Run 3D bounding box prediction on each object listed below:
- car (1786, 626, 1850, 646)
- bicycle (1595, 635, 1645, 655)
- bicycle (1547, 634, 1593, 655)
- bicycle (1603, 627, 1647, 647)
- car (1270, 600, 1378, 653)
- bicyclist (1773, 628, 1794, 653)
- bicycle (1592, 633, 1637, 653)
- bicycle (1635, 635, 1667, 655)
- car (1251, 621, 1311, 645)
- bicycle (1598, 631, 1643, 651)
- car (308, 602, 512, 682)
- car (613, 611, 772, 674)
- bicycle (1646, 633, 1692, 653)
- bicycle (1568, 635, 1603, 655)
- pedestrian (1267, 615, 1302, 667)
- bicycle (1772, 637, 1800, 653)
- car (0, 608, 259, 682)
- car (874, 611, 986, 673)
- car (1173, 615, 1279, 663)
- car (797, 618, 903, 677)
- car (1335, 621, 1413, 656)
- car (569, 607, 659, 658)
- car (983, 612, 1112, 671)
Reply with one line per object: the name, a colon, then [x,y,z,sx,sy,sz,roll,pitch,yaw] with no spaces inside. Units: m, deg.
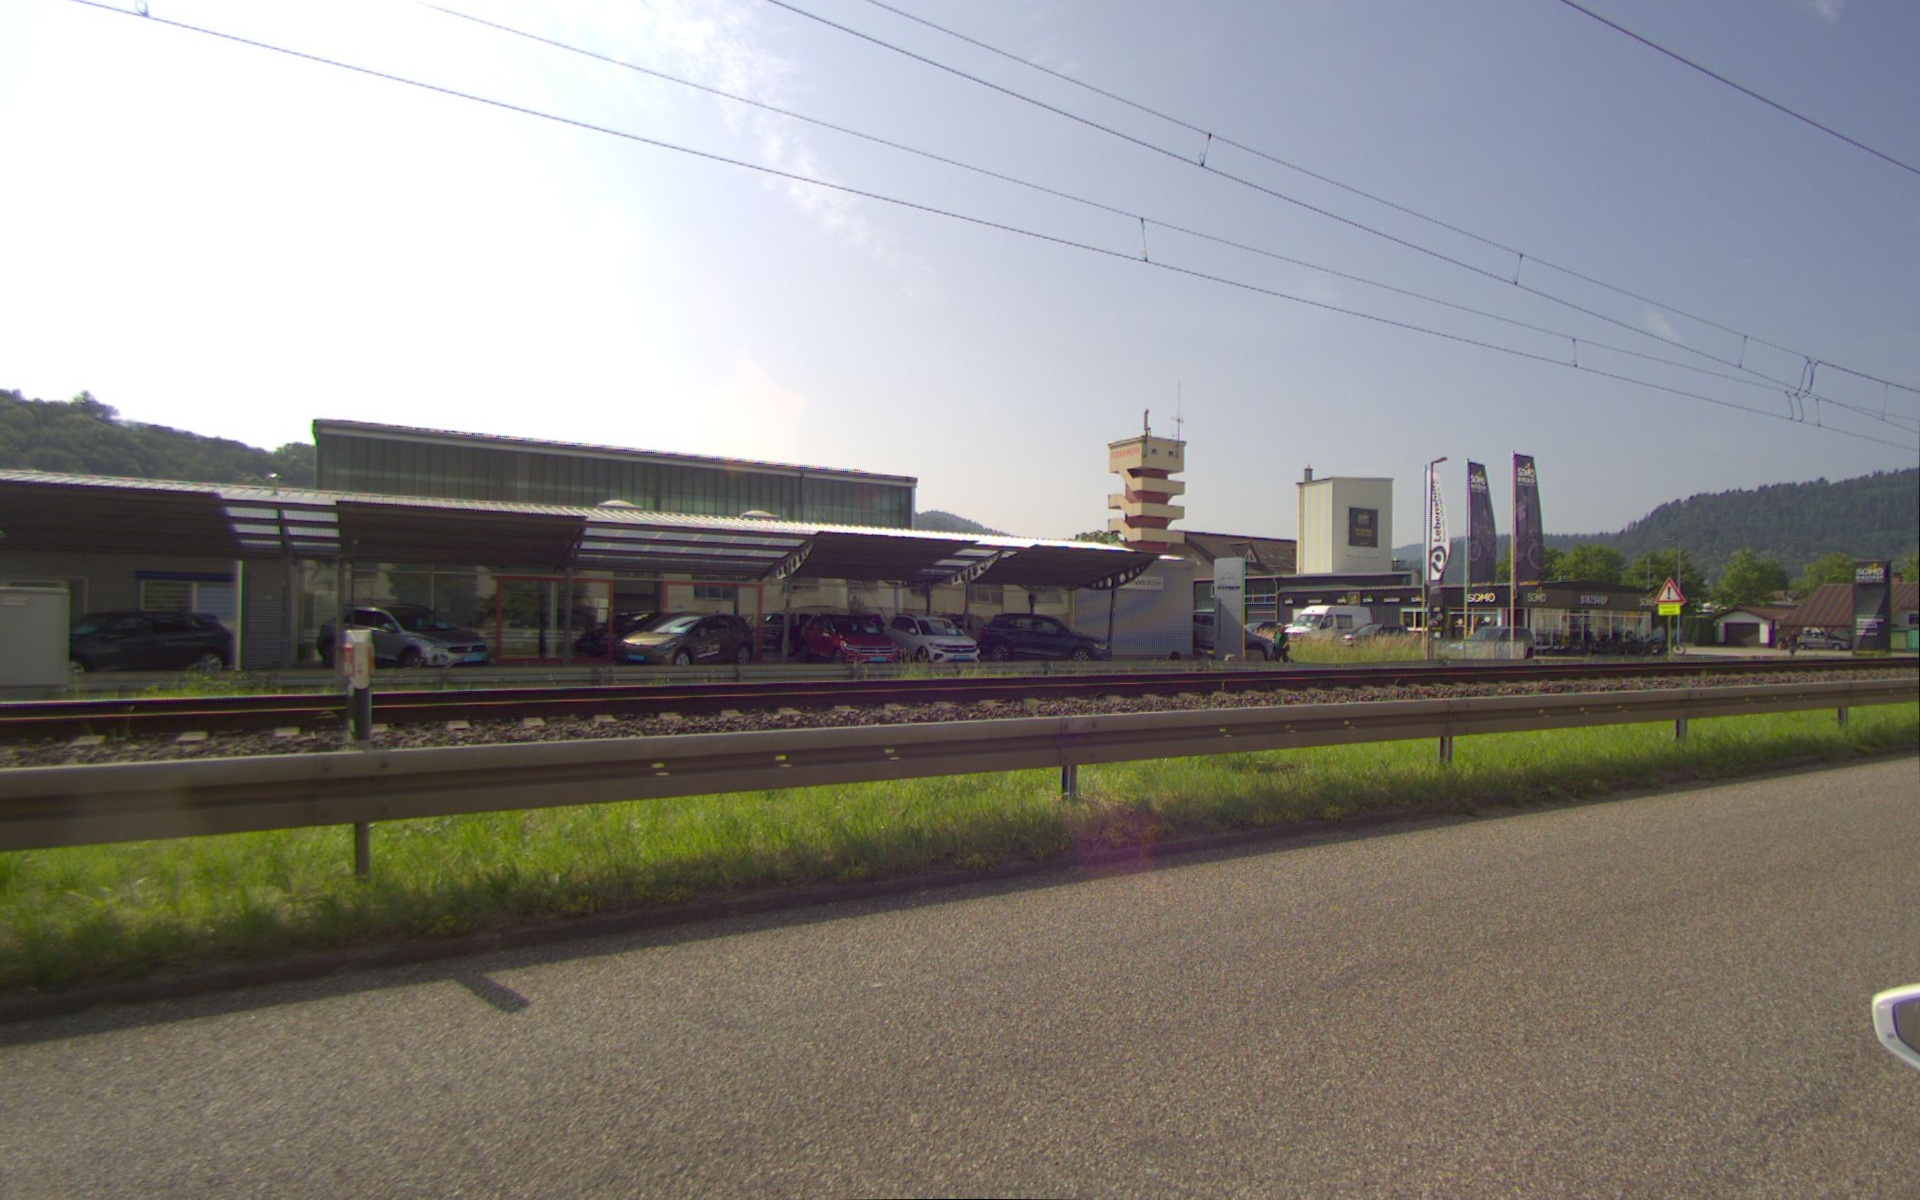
car: [74.392,3.145,87.140,1.690,1.673,3.824,1,-2,-26]
bicycle: [37.707,2.567,57.406,2.275,1.145,0.730,1,-1,5]
bicycle: [34.726,2.503,57.208,0.721,1.145,2.158,2,-2,-29]
bicycle: [40.490,2.249,61.162,0.724,1.145,2.151,2,-2,-38]
car: [20.227,1.518,55.783,6.092,2.667,2.360,3,-2,-32]
bicyclist: [56.665,2.786,69.110,1.130,1.641,0.743,1,-1,-25]
bicycle: [39.130,2.537,60.078,0.721,1.145,2.158,2,-2,-29]
bicycle: [40.427,2.624,58.758,2.149,1.145,0.724,2,-2,-31]
car: [19.397,1.977,60.673,3.478,1.375,1.508,2,-2,-29]
bicycle: [39.884,2.469,60.674,0.724,1.145,2.151,2,-2,-38]
car: [-12.823,0.913,23.449,4.187,1.548,1.847,3,2,20]
car: [-7.026,1.080,26.932,1.811,1.525,4.433,0,-1,22]
bicycle: [43.009,2.619,60.934,0.724,1.145,2.151,2,-2,-38]
bicycle: [36.647,2.629,58.860,2.146,1.145,0.725,2,-1,-27]
pedestrian: [11.237,1.412,34.793,0.826,1.757,0.798,1,-1,-31]
bicycle: [56.758,3.094,68.996,1.936,1.030,0.753,1,-1,-26]
car: [-17.174,0.870,20.704,1.810,1.360,4.209,0,-1,18]
car: [-0.972,1.208,30.262,1.644,1.548,3.935,1,2,-31]
car: [10.927,1.588,41.283,3.925,1.550,1.522,5,1,26]
car: [-3.233,1.316,28.927,1.485,1.343,3.935,1,2,-31]
car: [21.838,2.037,52.945,3.956,1.685,1.858,3,-2,-32]
car: [-11.104,1.000,32.079,1.887,1.525,4.142,1,-1,-31]
car: [2.891,1.327,32.833,3.950,1.644,1.664,3,2,13]
